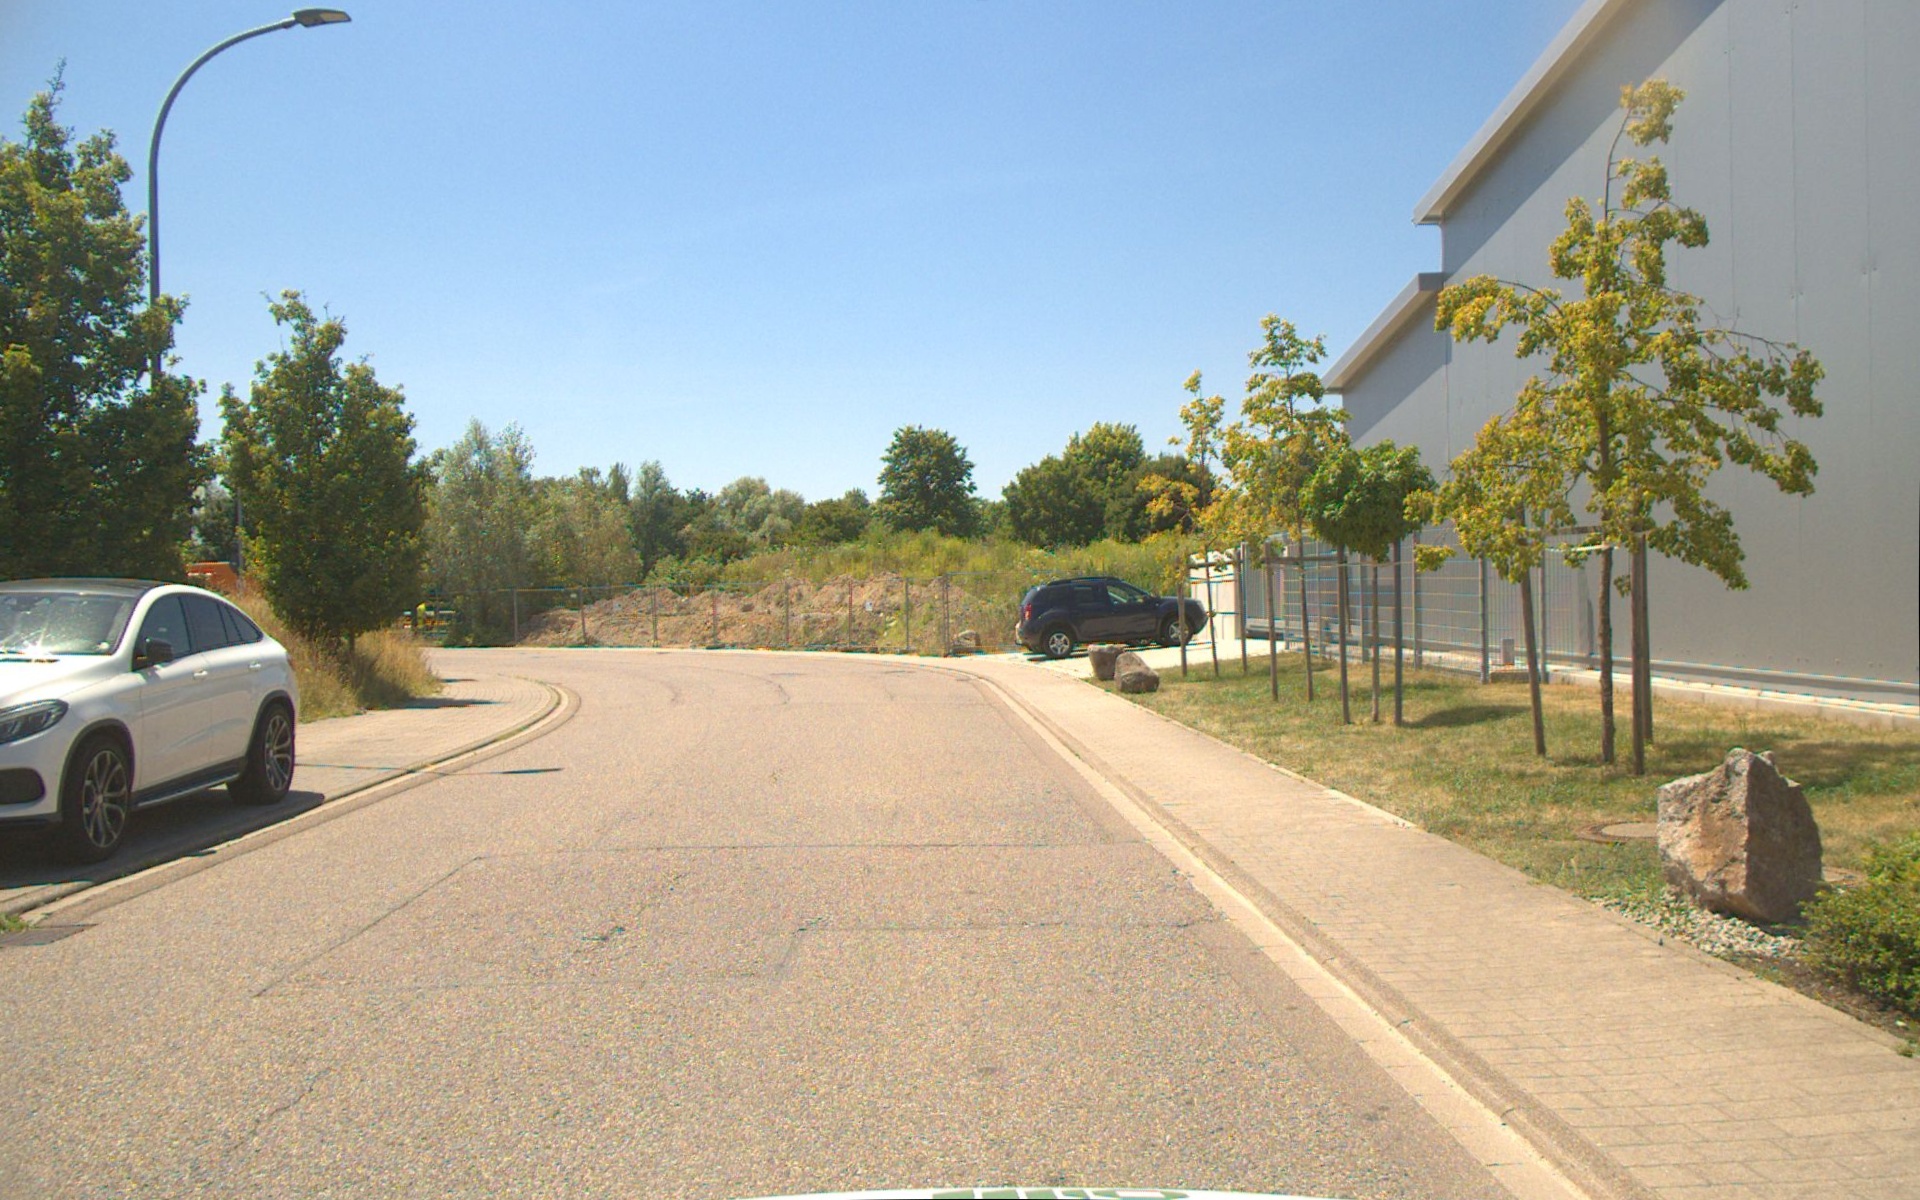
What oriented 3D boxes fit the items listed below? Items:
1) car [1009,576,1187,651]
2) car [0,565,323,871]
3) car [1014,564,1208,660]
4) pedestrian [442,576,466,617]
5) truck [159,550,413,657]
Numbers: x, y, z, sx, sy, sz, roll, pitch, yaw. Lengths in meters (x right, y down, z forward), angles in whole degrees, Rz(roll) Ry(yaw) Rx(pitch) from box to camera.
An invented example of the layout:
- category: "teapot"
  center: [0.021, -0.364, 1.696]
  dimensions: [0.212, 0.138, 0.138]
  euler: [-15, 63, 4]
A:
- category: "car"
  center: [3.231, 0.302, 39.226]
  dimensions: [3.931, 1.487, 1.891]
  euler: [-4, 0, -4]
- category: "car"
  center: [-6.193, 0.674, 11.435]
  dimensions: [1.874, 1.684, 4.752]
  euler: [-2, 0, -3]
- category: "car"
  center: [3.313, 0.256, 36.784]
  dimensions: [3.932, 1.683, 1.857]
  euler: [-6, 1, -3]
- category: "pedestrian"
  center: [-22.653, -0.158, 74.073]
  dimensions: [0.859, 1.856, 0.739]
  euler: [-1, 0, -4]
- category: "truck"
  center: [-26.773, 0.100, 66.142]
  dimensions: [8.417, 3.872, 4.160]
  euler: [-2, 1, -6]
